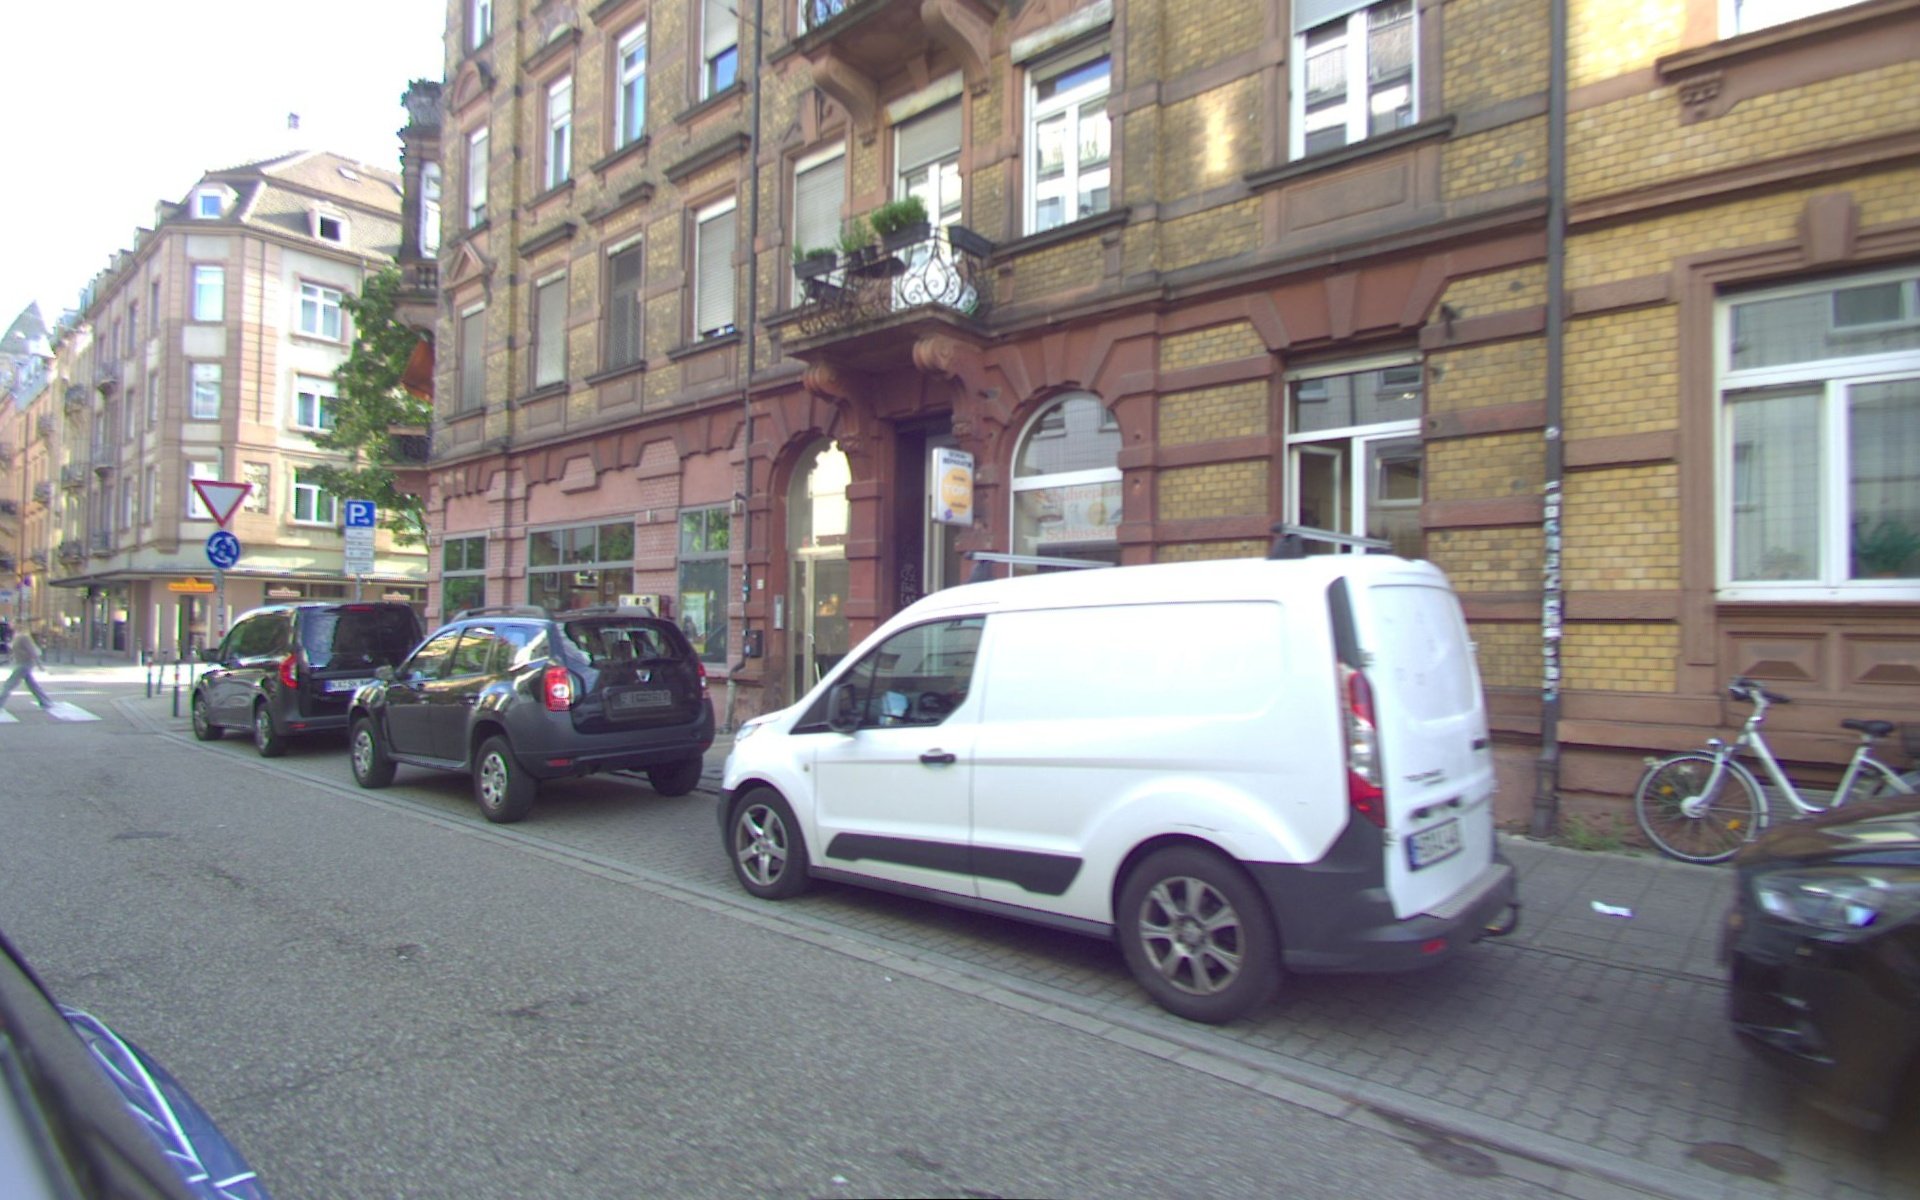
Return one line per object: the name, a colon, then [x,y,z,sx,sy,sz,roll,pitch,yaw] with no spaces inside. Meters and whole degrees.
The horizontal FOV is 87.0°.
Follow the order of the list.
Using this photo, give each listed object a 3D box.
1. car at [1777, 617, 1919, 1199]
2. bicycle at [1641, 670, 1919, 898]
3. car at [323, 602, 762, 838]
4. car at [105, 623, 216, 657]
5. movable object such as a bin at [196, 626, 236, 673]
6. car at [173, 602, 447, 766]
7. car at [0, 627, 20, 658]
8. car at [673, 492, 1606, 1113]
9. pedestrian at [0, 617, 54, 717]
car: [4.223,0.796,2.011,3.982,1.495,1.723,0,-1,42]
bicycle: [5.178,1.033,5.847,2.000,1.159,0.562,-1,-1,41]
car: [-3.900,0.917,9.188,4.141,1.650,1.973,-2,-3,40]
car: [-39.906,1.964,50.592,1.994,1.633,3.956,-1,-2,32]
movable object such as a bin: [-11.501,0.760,15.647,0.475,0.719,0.379,-2,-2,37]
car: [-8.537,0.969,13.135,4.401,1.787,1.742,-2,-1,40]
car: [-44.213,1.937,46.073,3.828,1.379,1.701,-2,-2,42]
car: [0.596,0.678,5.273,4.434,1.886,1.900,-2,-2,41]
pedestrian: [-15.426,1.083,16.455,0.611,1.590,0.803,-1,-3,24]
